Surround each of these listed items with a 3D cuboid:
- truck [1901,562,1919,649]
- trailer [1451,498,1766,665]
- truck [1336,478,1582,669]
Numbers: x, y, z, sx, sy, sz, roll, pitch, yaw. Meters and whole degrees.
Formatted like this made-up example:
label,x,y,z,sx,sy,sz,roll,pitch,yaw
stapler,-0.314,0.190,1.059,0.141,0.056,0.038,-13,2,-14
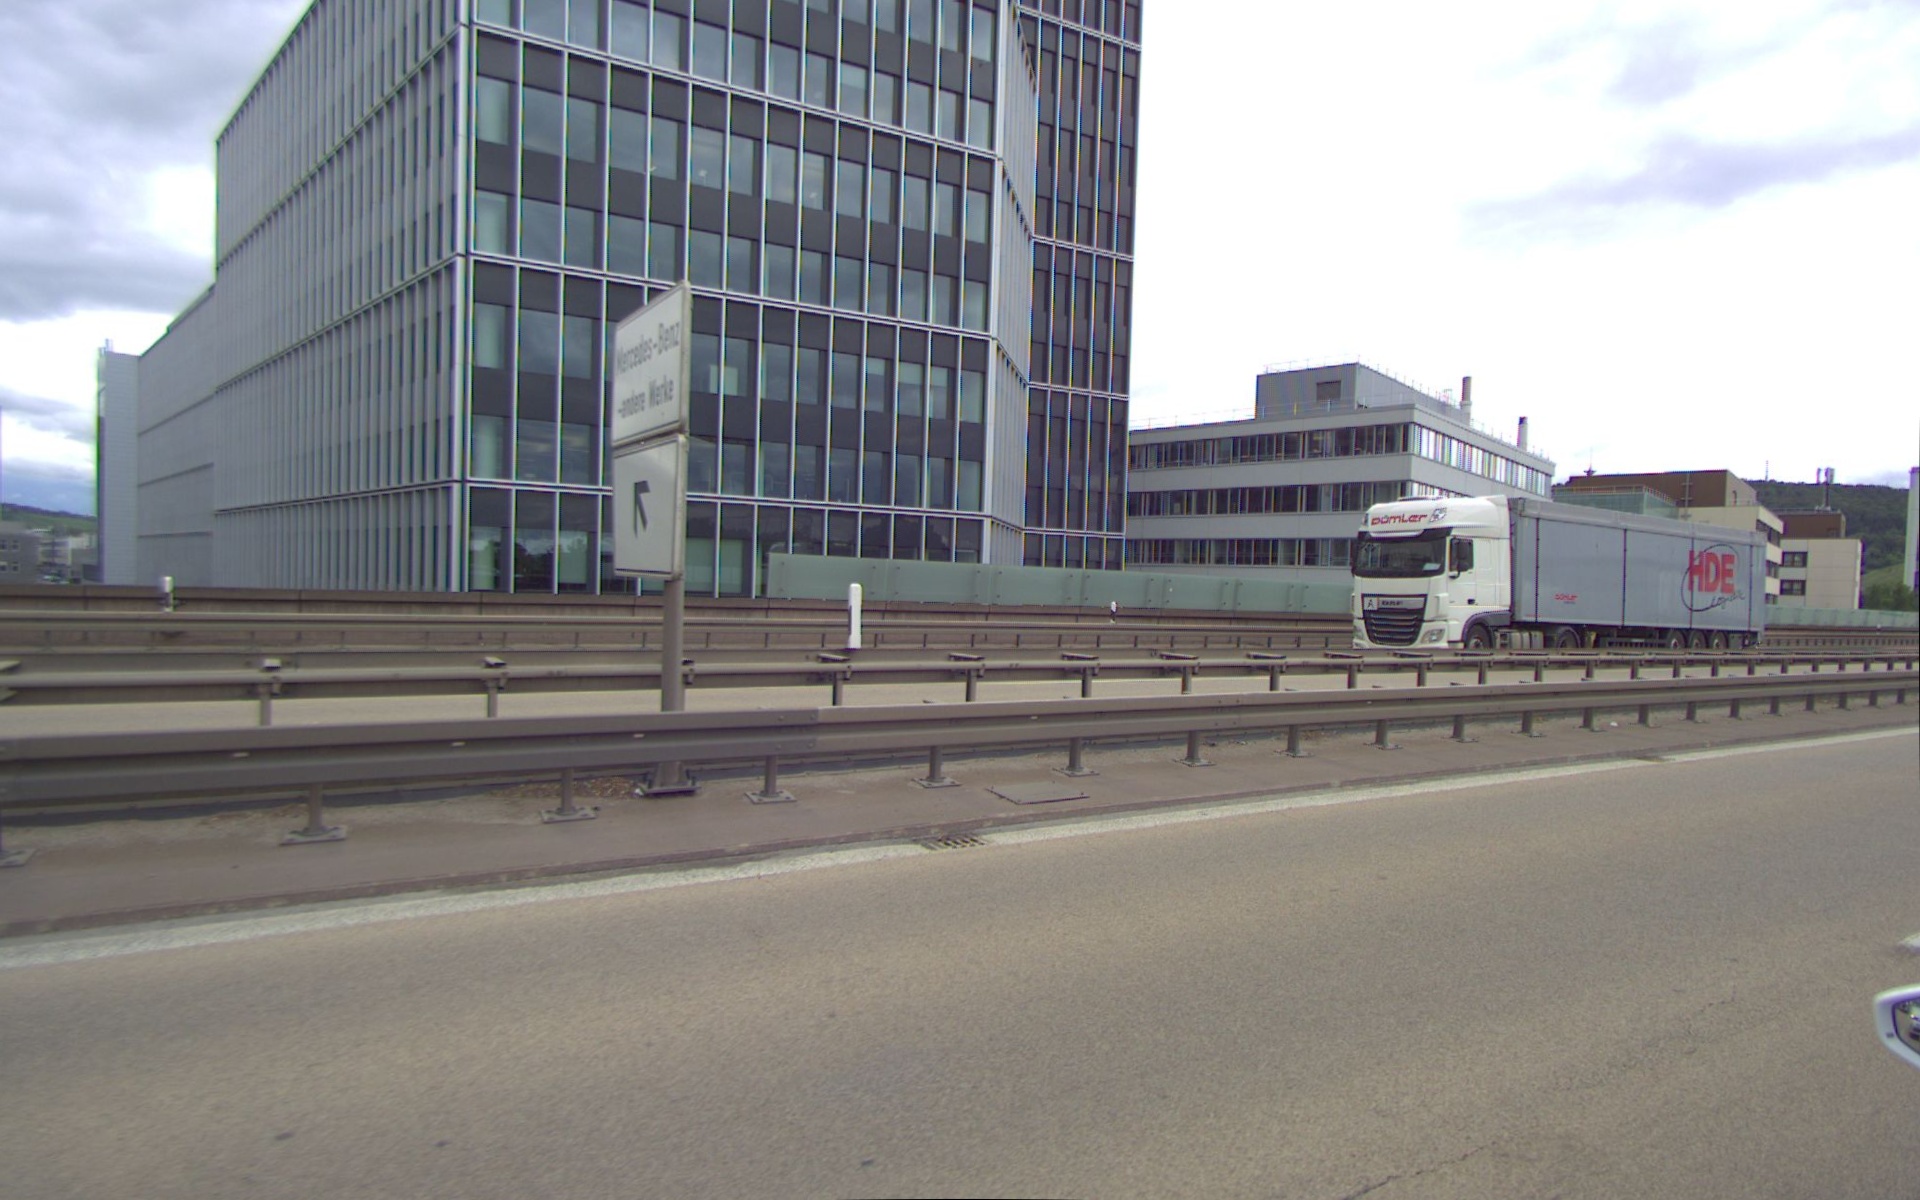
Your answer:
label,x,y,z,sx,sy,sz,roll,pitch,yaw
truck,50.591,0.495,49.902,11.735,4.119,3.038,3,-1,-34
trailer,18.776,-0.339,28.625,11.754,4.040,2.829,1,0,-32
truck,12.152,-0.509,24.398,5.583,4.133,2.757,2,0,-32
